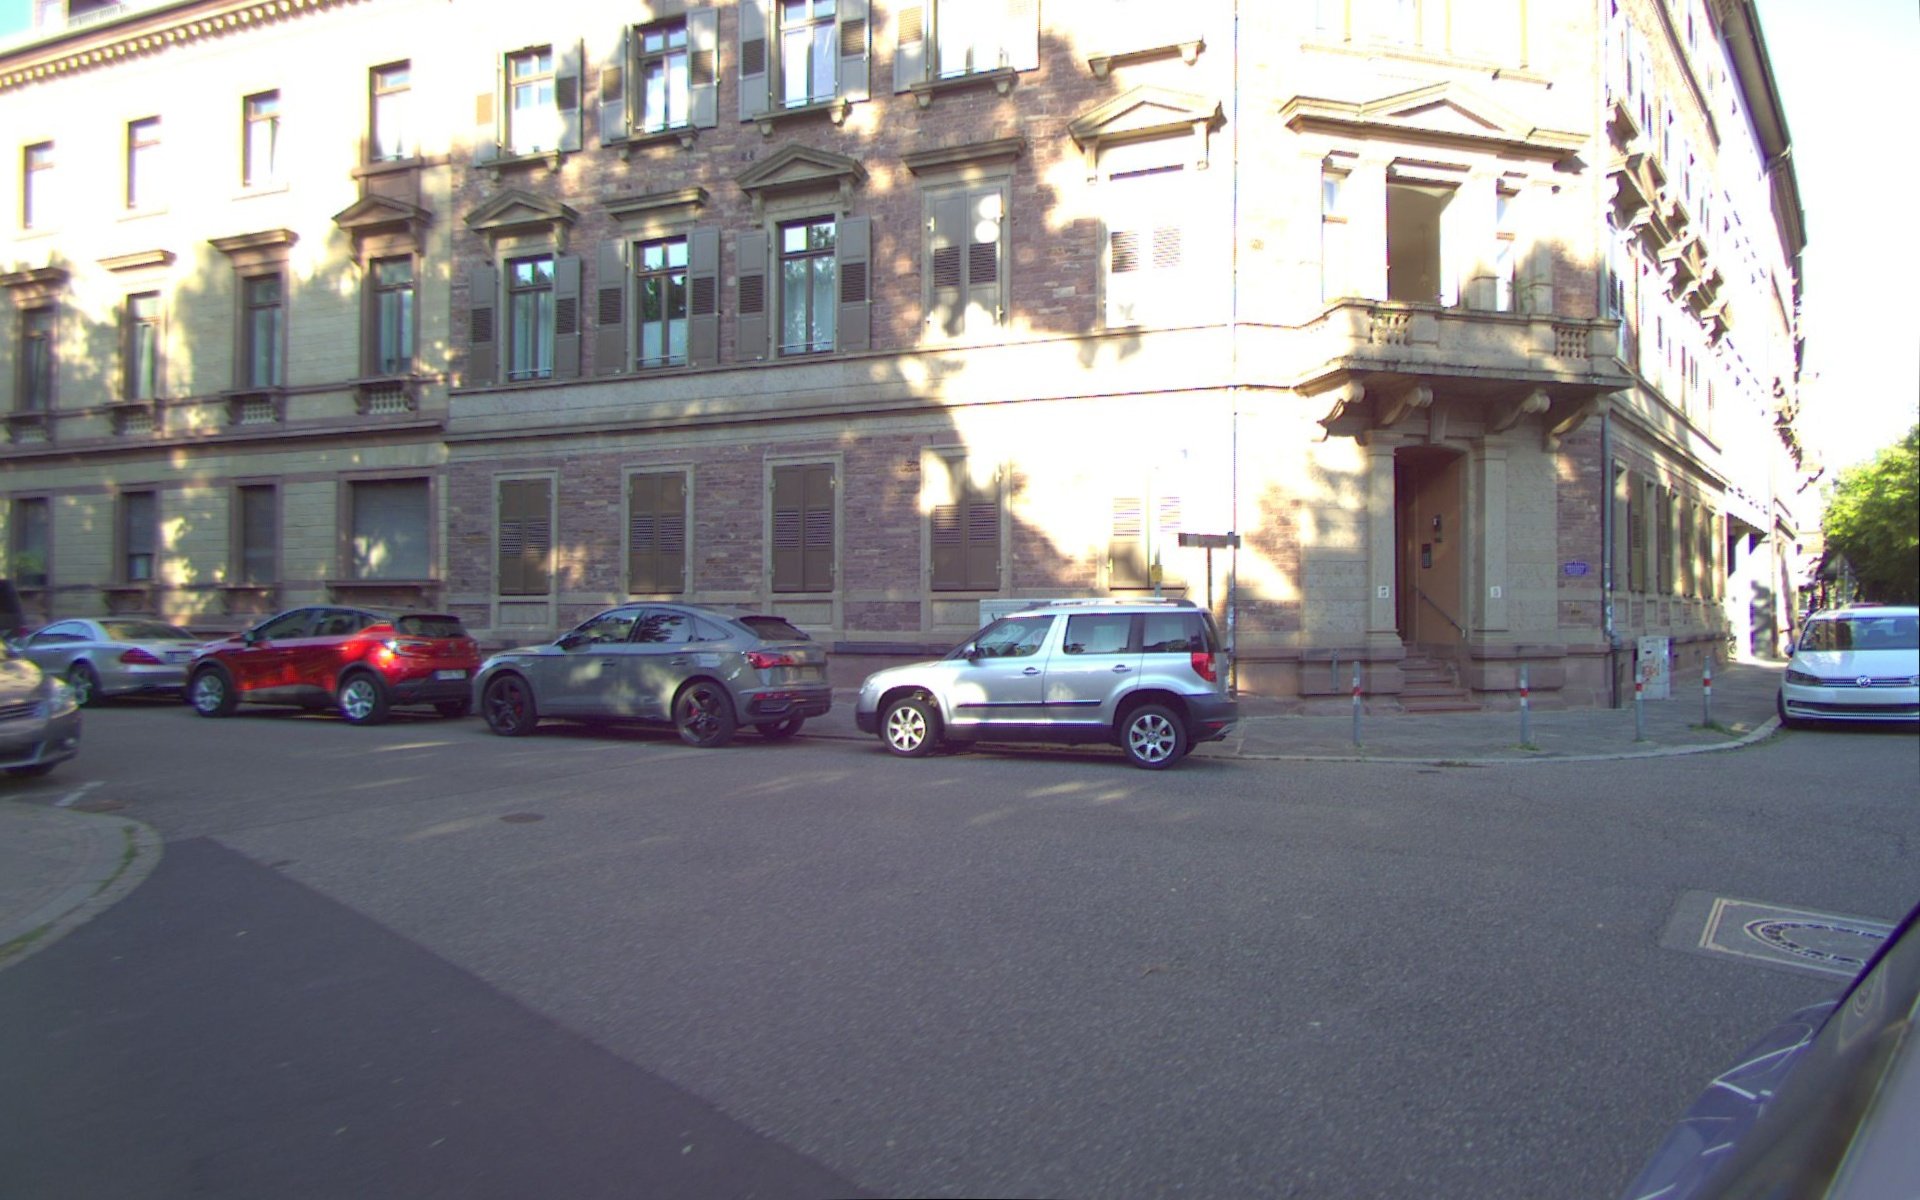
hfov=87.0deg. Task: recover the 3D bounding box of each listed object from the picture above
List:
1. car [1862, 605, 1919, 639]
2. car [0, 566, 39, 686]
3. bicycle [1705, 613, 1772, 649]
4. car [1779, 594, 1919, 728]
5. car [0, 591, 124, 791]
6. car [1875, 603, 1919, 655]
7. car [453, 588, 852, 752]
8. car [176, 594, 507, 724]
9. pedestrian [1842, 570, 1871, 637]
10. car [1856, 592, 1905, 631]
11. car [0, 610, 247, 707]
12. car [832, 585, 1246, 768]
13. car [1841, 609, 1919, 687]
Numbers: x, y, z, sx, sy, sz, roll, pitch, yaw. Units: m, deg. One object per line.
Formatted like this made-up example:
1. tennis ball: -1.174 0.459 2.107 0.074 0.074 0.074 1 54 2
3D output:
1. car: 46.914 1.089 51.086 1.992 1.587 4.544 1 0 41
2. car: -18.772 0.437 18.031 3.904 2.100 1.791 0 -3 19
3. bicycle: 25.519 1.007 33.173 2.052 1.131 0.684 0 -1 -18
4. car: 13.194 0.785 14.418 1.869 1.671 4.425 -4 -3 45
5. car: -9.876 0.745 8.985 4.237 1.636 1.819 0 -4 20
6. car: 31.174 0.908 32.914 1.994 1.587 4.520 1 0 44
7. car: -3.758 0.801 12.471 4.486 1.746 1.819 0 -4 20
8. car: -8.635 0.784 14.219 3.901 1.635 1.793 0 -3 17
9. pedestrian: 40.190 0.160 45.388 0.917 2.985 0.690 -1 -1 41
10. car: 54.235 0.662 59.681 1.992 2.200 4.544 1 0 41
11. car: -13.488 0.876 15.888 3.904 1.363 1.791 0 -3 19
12. car: 0.910 0.775 10.944 4.132 1.679 1.909 0 -4 19
13. car: 19.827 0.942 21.183 4.096 1.509 1.737 0 -3 -45
